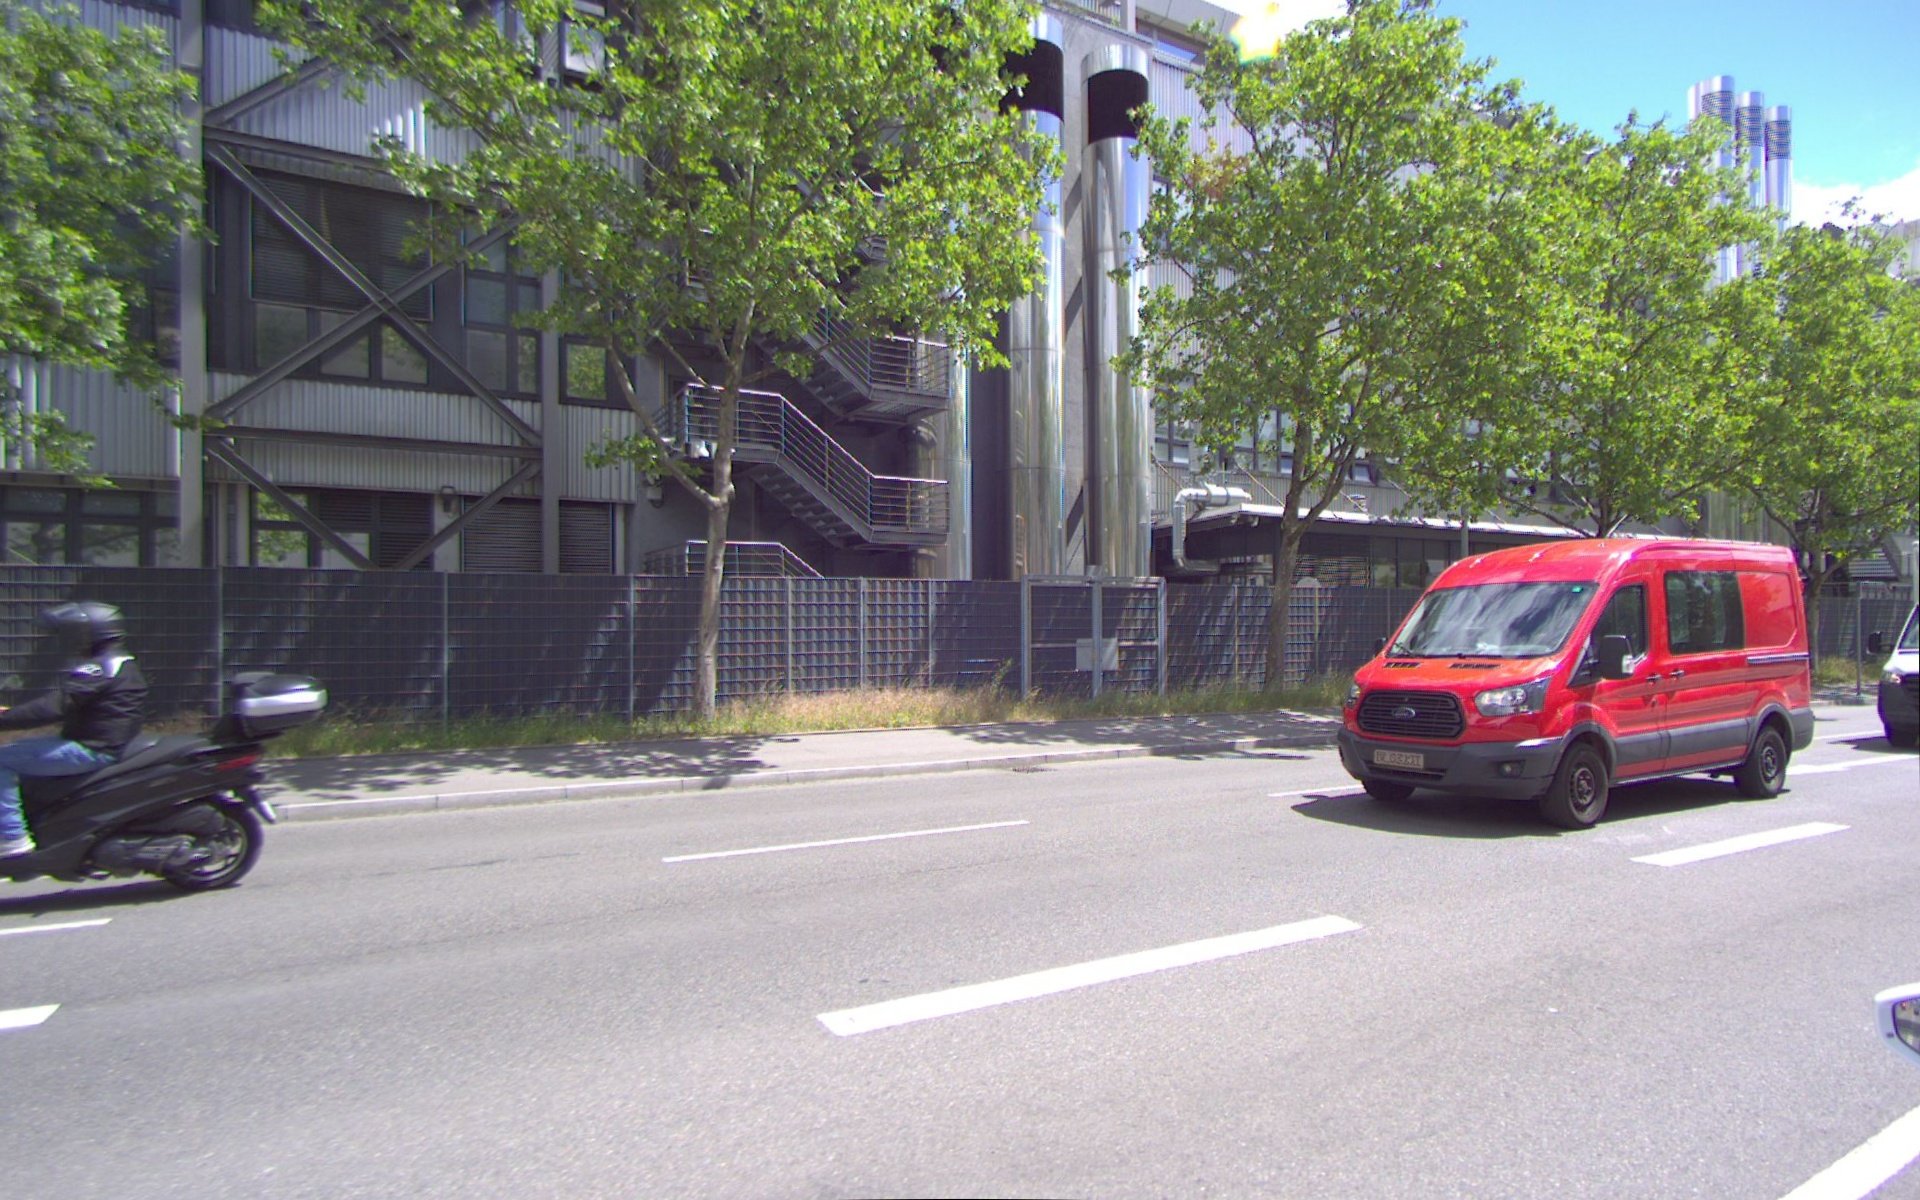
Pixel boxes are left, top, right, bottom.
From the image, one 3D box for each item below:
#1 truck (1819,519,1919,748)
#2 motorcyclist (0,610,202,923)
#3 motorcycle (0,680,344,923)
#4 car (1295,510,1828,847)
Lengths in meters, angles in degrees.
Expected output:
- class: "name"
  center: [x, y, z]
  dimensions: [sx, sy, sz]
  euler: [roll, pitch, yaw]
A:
- class: "truck"
  center: [16.540, 0.535, 15.505]
  dimensions: [7.152, 3.169, 2.443]
  euler: [1, -4, -28]
- class: "motorcyclist"
  center: [-5.065, 0.895, 5.724]
  dimensions: [1.083, 1.644, 0.729]
  euler: [2, -2, -33]
- class: "motorcycle"
  center: [-4.947, 1.107, 5.781]
  dimensions: [2.352, 1.235, 0.670]
  euler: [2, -3, -34]
- class: "car"
  center: [5.990, 0.683, 9.822]
  dimensions: [5.414, 2.540, 2.054]
  euler: [1, -3, -30]
